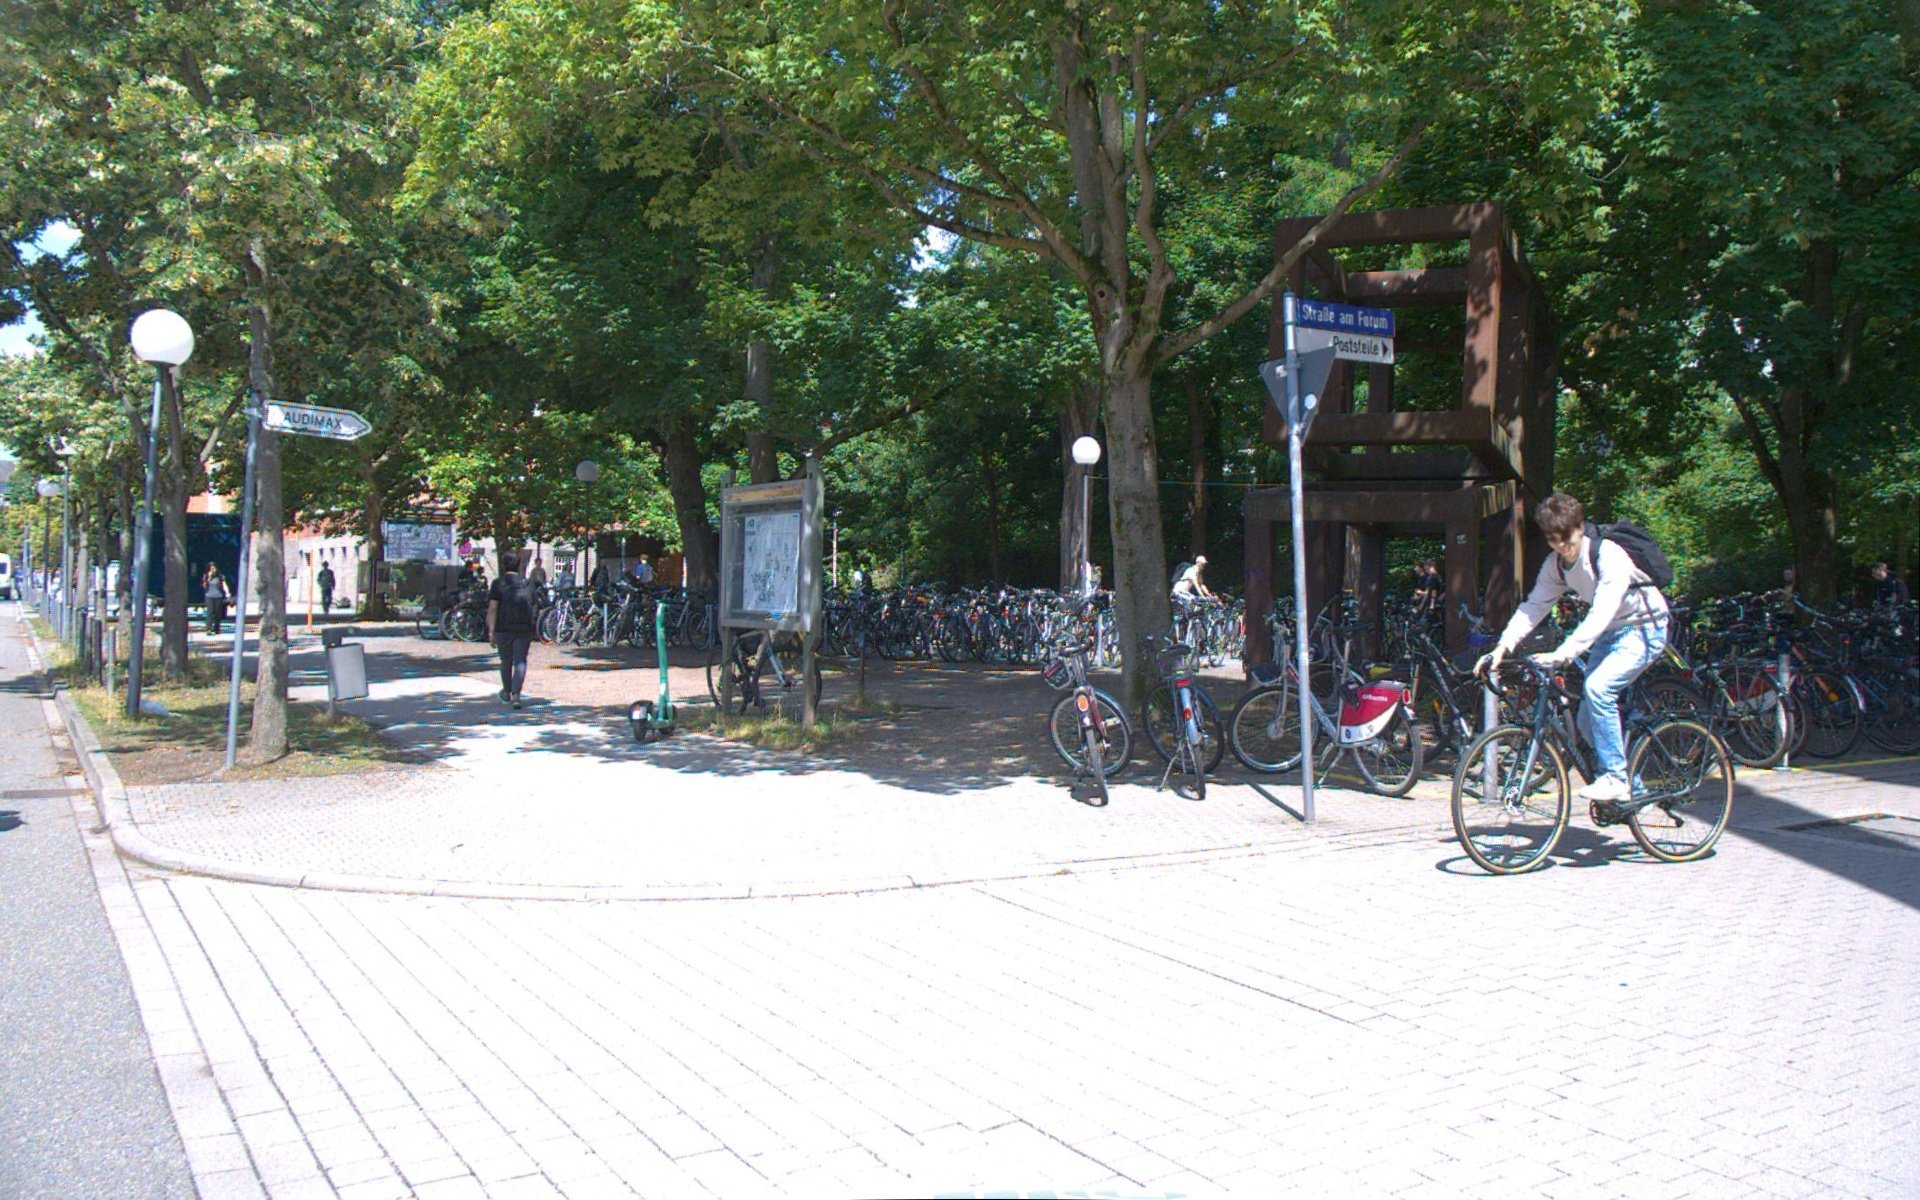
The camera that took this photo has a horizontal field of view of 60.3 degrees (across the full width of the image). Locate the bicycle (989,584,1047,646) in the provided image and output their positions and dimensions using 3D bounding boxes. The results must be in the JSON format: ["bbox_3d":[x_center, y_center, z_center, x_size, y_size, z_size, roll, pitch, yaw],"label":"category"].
[{"bbox_3d":[1.093,0.264,30.882,0.463,1.102,1.859,2,1,22],"label":"bicycle"}]

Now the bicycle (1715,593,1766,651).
[{"bbox_3d":[16.126,0.434,34.185,0.504,1.129,1.779,2,1,11],"label":"bicycle"}]

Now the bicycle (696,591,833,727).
[{"bbox_3d":[-1.822,0.508,15.219,0.389,1.127,1.816,1,1,-36],"label":"bicycle"}]

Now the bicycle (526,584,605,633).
[{"bbox_3d":[-9.188,0.202,38.588,0.466,1.102,1.847,2,1,42],"label":"bicycle"}]

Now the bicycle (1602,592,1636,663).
[{"bbox_3d":[10.672,0.431,26.797,0.463,1.102,1.699,2,1,22],"label":"bicycle"}]

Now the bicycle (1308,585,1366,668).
[{"bbox_3d":[5.434,0.357,23.769,0.491,1.127,1.907,2,1,21],"label":"bicycle"}]

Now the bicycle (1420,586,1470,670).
[{"bbox_3d":[6.900,0.372,23.491,0.491,1.127,1.780,2,1,21],"label":"bicycle"}]

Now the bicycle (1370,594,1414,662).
[{"bbox_3d":[7.308,0.451,27.925,0.463,1.102,1.859,2,1,22],"label":"bicycle"}]

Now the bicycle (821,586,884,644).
[{"bbox_3d":[-2.125,0.279,32.842,0.463,1.102,1.859,2,1,22],"label":"bicycle"}]

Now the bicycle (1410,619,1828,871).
[{"bbox_3d":[3.162,0.678,8.004,1.779,1.127,0.640,1,2,-8],"label":"bicycle"}]

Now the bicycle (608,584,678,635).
[{"bbox_3d":[-7.168,0.205,37.461,0.463,1.102,1.856,2,1,28],"label":"bicycle"}]

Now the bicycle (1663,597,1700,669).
[{"bbox_3d":[11.649,0.522,26.732,0.463,1.102,1.699,2,1,22],"label":"bicycle"}]

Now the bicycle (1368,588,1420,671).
[{"bbox_3d":[6.253,0.406,23.780,0.491,1.127,1.780,2,1,21],"label":"bicycle"}]

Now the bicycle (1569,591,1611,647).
[{"bbox_3d":[13.352,0.378,35.095,0.504,1.129,1.779,2,1,11],"label":"bicycle"}]

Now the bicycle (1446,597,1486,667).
[{"bbox_3d":[8.492,0.518,27.729,0.463,1.102,1.699,2,1,22],"label":"bicycle"}]

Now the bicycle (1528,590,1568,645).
[{"bbox_3d":[12.507,0.355,35.208,0.504,1.129,1.779,2,1,11],"label":"bicycle"}]

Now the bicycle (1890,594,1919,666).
[{"bbox_3d":[15.182,0.464,26.048,0.462,1.102,1.701,2,1,14],"label":"bicycle"}]

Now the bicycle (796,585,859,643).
[{"bbox_3d":[-2.641,0.269,33.137,0.463,1.102,1.859,2,1,22],"label":"bicycle"}]

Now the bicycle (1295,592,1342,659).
[{"bbox_3d":[6.165,0.420,28.402,0.463,1.102,1.859,2,1,22],"label":"bicycle"}]

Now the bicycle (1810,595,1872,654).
[{"bbox_3d":[17.995,0.488,33.828,0.505,1.129,1.779,2,1,8],"label":"bicycle"}]

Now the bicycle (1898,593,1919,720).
[{"bbox_3d":[9.115,0.529,14.365,0.491,1.127,1.610,1,1,-35],"label":"bicycle"}]

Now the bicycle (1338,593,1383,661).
[{"bbox_3d":[6.854,0.437,28.259,0.463,1.102,1.859,2,1,22],"label":"bicycle"}]

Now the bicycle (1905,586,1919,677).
[{"bbox_3d":[13.092,0.437,21.666,0.562,1.220,1.701,2,1,6],"label":"bicycle"}]

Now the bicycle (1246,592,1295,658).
[{"bbox_3d":[5.414,0.414,28.802,0.463,1.102,1.859,2,1,22],"label":"bicycle"}]

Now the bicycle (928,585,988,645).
[{"bbox_3d":[-0.023,0.273,31.513,0.463,1.102,1.859,2,1,22],"label":"bicycle"}]

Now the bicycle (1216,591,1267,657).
[{"bbox_3d":[4.953,0.400,29.039,0.463,1.102,1.859,2,1,22],"label":"bicycle"}]

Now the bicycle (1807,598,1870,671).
[{"bbox_3d":[14.058,0.539,26.510,0.462,1.102,1.701,2,1,14],"label":"bicycle"}]

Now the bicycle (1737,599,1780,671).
[{"bbox_3d":[12.829,0.542,26.587,0.463,1.102,1.699,2,1,22],"label":"bicycle"}]

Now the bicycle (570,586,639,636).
[{"bbox_3d":[-8.174,0.239,38.104,0.463,1.102,1.856,2,1,28],"label":"bicycle"}]

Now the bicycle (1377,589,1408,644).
[{"bbox_3d":[9.360,0.348,35.824,0.504,1.129,1.779,2,1,11],"label":"bicycle"}]

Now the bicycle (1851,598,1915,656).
[{"bbox_3d":[18.843,0.536,33.811,0.505,1.129,1.779,2,1,8],"label":"bicycle"}]

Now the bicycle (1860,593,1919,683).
[{"bbox_3d":[12.492,0.483,21.760,0.490,1.127,1.701,2,1,6],"label":"bicycle"}]

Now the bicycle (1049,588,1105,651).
[{"bbox_3d":[2.163,0.347,30.378,0.463,1.102,1.859,2,1,22],"label":"bicycle"}]

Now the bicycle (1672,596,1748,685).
[{"bbox_3d":[10.210,0.527,22.572,0.490,1.127,1.701,2,1,9],"label":"bicycle"}]

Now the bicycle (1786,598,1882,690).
[{"bbox_3d":[11.585,0.562,21.969,0.490,1.127,1.701,2,1,6],"label":"bicycle"}]

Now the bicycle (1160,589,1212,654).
[{"bbox_3d":[4.064,0.366,29.589,0.463,1.102,1.859,2,1,22],"label":"bicycle"}]

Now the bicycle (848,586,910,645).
[{"bbox_3d":[-1.585,0.292,32.732,0.463,1.102,1.859,2,1,22],"label":"bicycle"}]

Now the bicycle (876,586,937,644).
[{"bbox_3d":[-1.032,0.281,32.390,0.463,1.102,1.859,2,1,22],"label":"bicycle"}]

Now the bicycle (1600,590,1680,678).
[{"bbox_3d":[9.321,0.439,22.721,0.616,1.127,1.701,2,1,9],"label":"bicycle"}]

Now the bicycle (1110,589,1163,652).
[{"bbox_3d":[3.224,0.352,30.086,0.463,1.102,1.859,2,1,22],"label":"bicycle"}]

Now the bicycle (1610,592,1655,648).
[{"bbox_3d":[14.241,0.403,35.052,0.504,1.129,1.779,2,1,11],"label":"bicycle"}]

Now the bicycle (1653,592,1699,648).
[{"bbox_3d":[15.020,0.402,34.729,0.504,1.129,1.779,2,1,11],"label":"bicycle"}]

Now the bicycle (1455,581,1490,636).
[{"bbox_3d":[11.008,0.173,35.582,0.504,1.129,1.779,2,1,11],"label":"bicycle"}]
